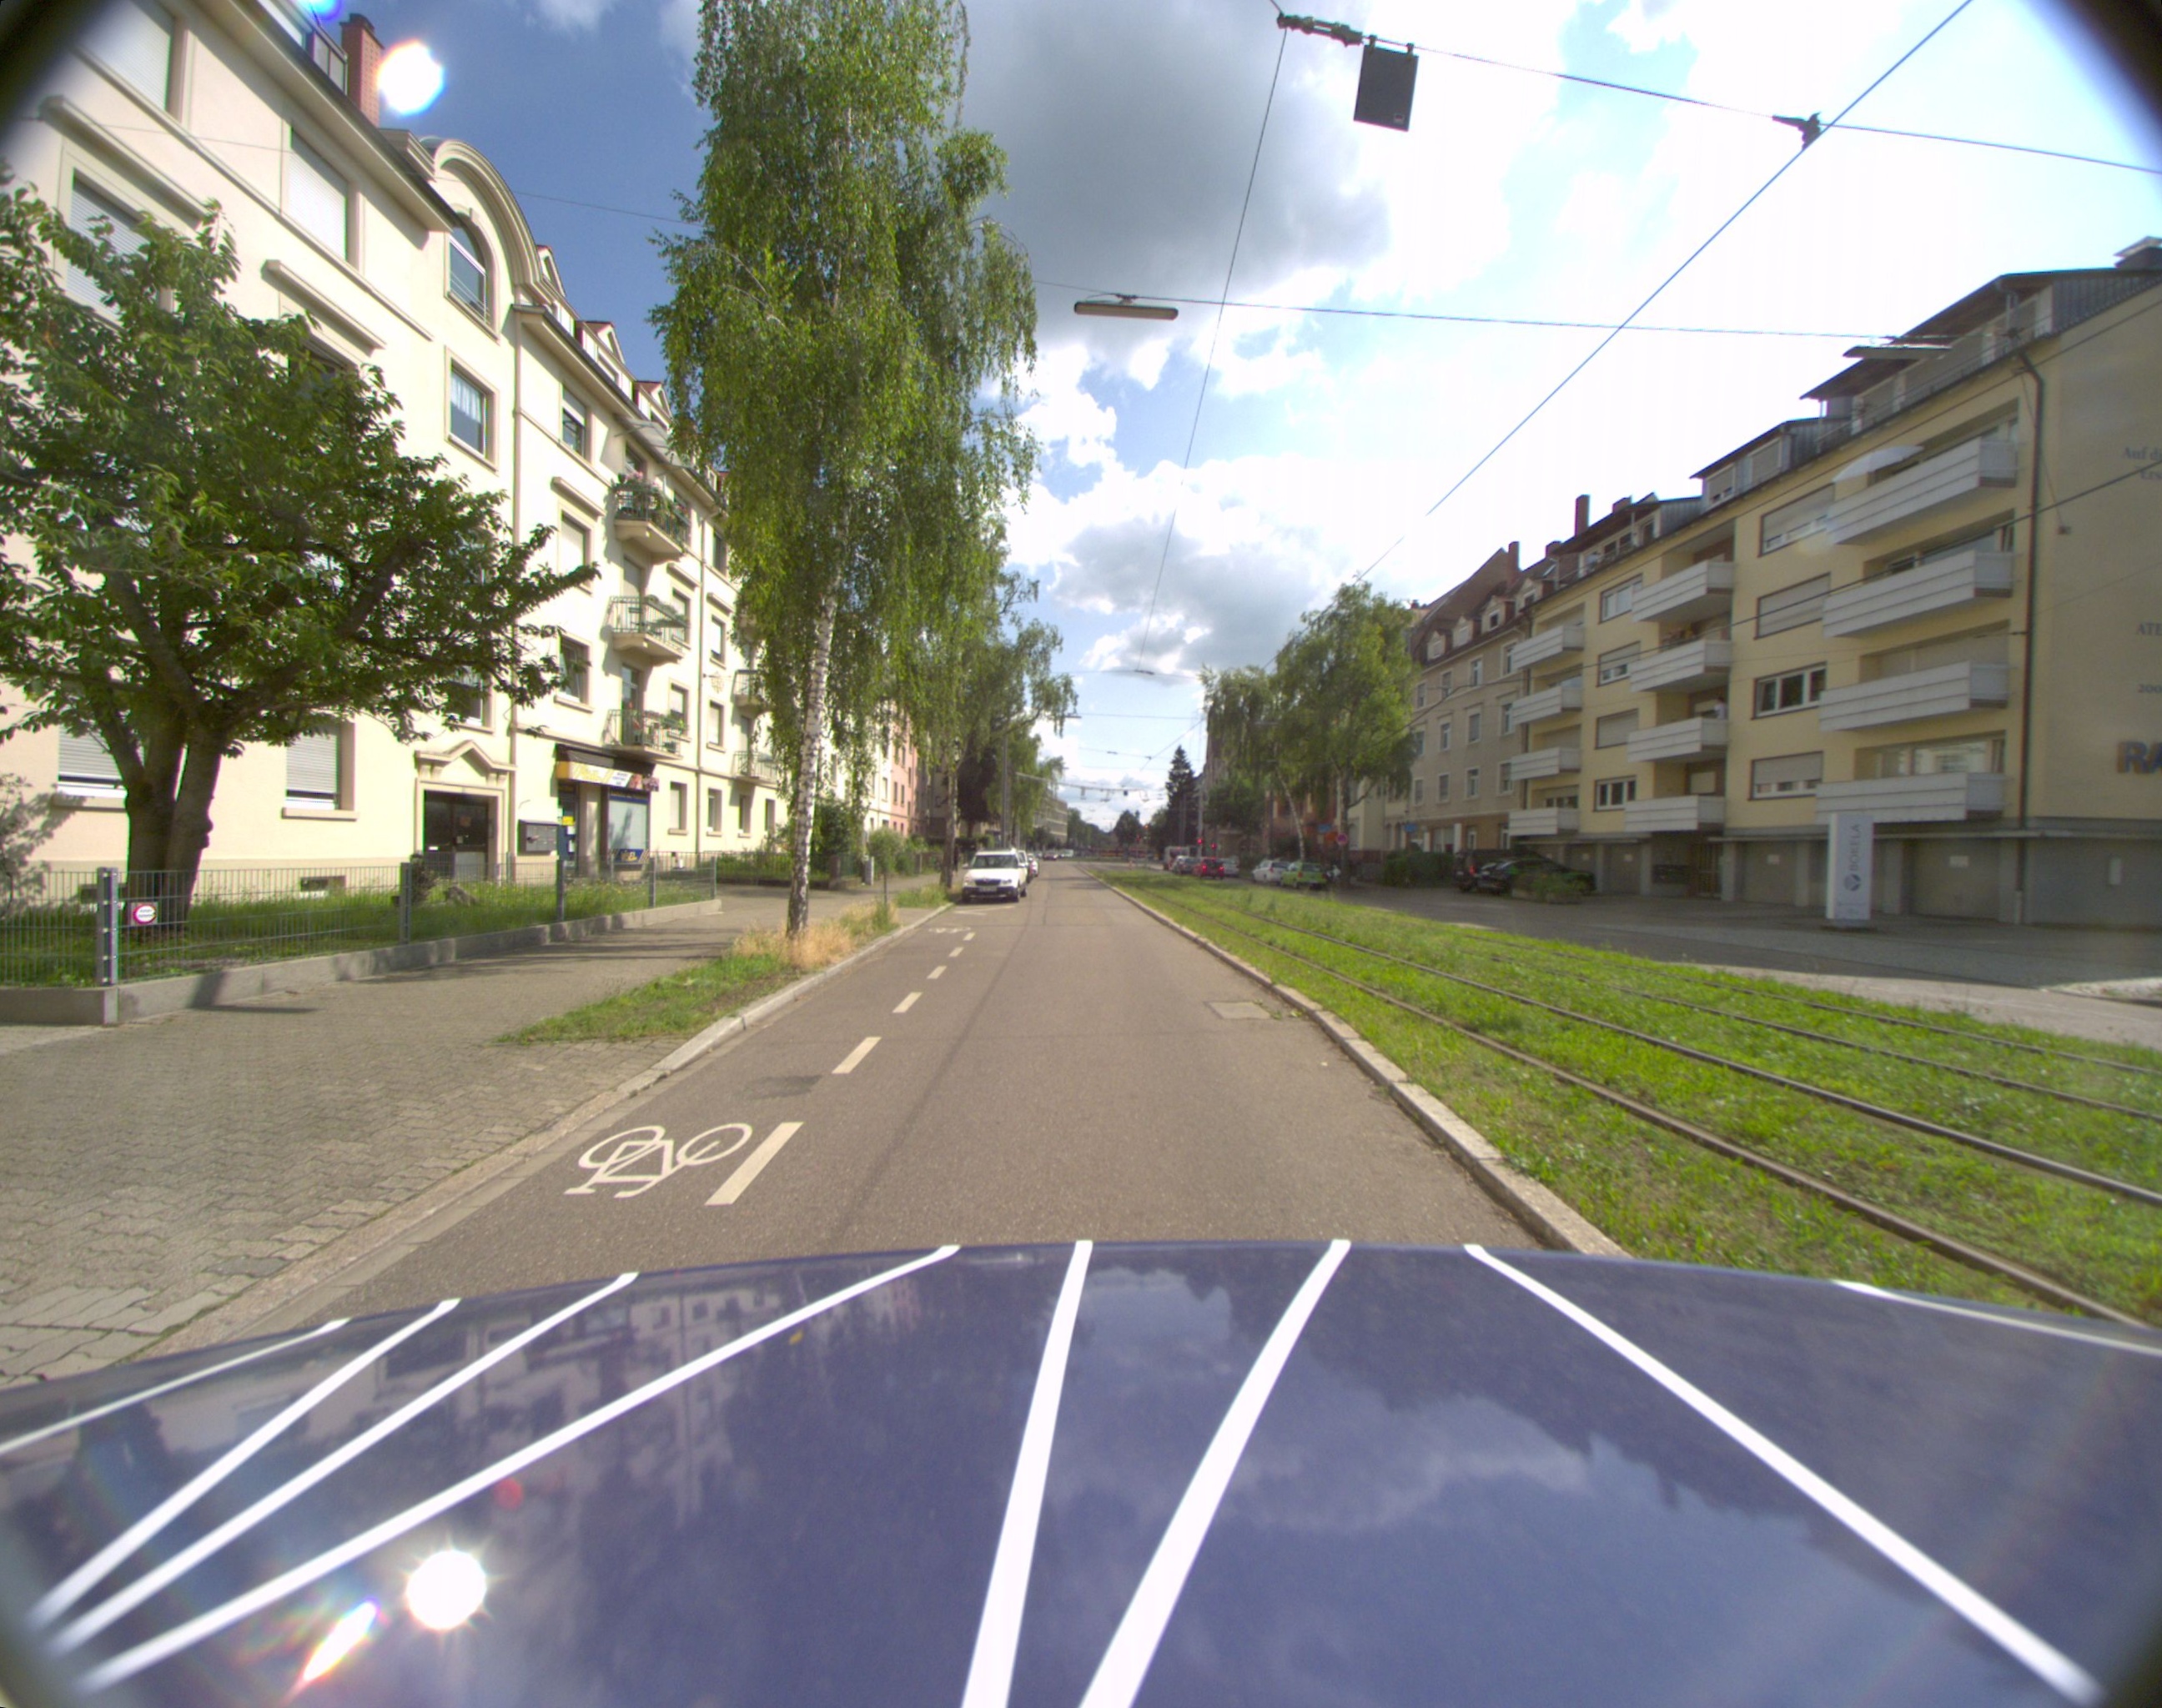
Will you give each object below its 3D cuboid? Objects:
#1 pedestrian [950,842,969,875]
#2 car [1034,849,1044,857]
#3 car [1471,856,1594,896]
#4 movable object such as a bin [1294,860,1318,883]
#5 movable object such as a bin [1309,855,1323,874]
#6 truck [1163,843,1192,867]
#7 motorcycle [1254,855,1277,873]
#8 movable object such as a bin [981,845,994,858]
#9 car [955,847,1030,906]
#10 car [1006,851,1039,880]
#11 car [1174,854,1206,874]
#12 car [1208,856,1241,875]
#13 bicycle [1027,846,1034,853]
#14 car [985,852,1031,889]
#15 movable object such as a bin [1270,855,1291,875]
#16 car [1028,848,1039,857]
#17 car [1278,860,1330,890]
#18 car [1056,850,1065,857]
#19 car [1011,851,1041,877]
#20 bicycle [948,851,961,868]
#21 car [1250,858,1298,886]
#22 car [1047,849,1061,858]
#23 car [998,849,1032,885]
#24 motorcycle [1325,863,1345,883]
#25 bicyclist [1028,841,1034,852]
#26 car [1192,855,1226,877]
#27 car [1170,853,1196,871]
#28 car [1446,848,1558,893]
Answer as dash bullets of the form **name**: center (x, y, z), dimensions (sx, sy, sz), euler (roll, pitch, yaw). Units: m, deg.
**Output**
- **pedestrian**: center (-6.326, 0.214, 39.591), dimensions (0.731, 1.673, 0.691), euler (3, 1, 1)
- **car**: center (-8.234, -0.208, 150.216), dimensions (1.836, 1.674, 3.999), euler (2, 0, -2)
- **car**: center (18.932, 0.914, 31.971), dimensions (3.998, 1.593, 1.972), euler (0, 1, -2)
- **movable object such as a bin**: center (13.885, 1.068, 46.879), dimensions (0.953, 1.421, 1.521), euler (-1, 1, -2)
- **movable object such as a bin**: center (17.101, 0.767, 55.310), dimensions (0.675, 1.354, 0.699), euler (1, 1, -5)
- **truck**: center (9.436, 0.113, 74.878), dimensions (2.190, 2.201, 6.613), euler (2, 0, 3)
- **motorcycle**: center (13.632, 0.719, 56.188), dimensions (0.903, 1.235, 2.293), euler (1, 0, -8)
- **movable object such as a bin**: center (-10.909, -0.267, 88.437), dimensions (1.305, 1.483, 2.000), euler (2, 1, -1)
- **car**: center (-2.621, 0.620, 23.282), dimensions (1.725, 1.620, 4.000), euler (-1, 1, 1)
- **car**: center (-3.177, 0.619, 41.792), dimensions (1.593, 1.444, 3.843), euler (-2, 1, -2)
- **car**: center (8.390, 0.737, 58.804), dimensions (1.759, 1.348, 4.511), euler (3, 1, 0)
- **car**: center (11.112, 0.886, 58.998), dimensions (1.759, 1.348, 3.994), euler (2, 1, 0)
- **bicycle**: center (-7.553, -0.668, 114.052), dimensions (0.771, 0.885, 1.892), euler (2, 0, 4)
- **car**: center (-3.031, 0.645, 32.181), dimensions (1.677, 1.409, 3.794), euler (-1, 1, -3)
- **movable object such as a bin**: center (14.019, 0.756, 53.361), dimensions (0.953, 1.359, 1.521), euler (-4, 1, -2)
- **car**: center (-8.787, -0.289, 141.862), dimensions (1.999, 1.730, 3.998), euler (2, 0, -3)
- **car**: center (11.842, 1.072, 40.537), dimensions (1.598, 1.424, 3.613), euler (2, 0, -1)
- **car**: center (-4.158, -0.095, 153.583), dimensions (1.620, 1.265, 4.000), euler (1, 0, 2)
- **car**: center (-3.325, 0.554, 46.525), dimensions (1.624, 1.444, 3.917), euler (-2, 1, -2)
- **bicycle**: center (-8.239, 0.354, 49.562), dimensions (0.472, 1.071, 2.182), euler (2, 0, 0)
- **car**: center (11.552, 1.021, 45.660), dimensions (1.649, 1.469, 4.224), euler (3, 0, -1)
- **car**: center (-4.020, -0.034, 113.604), dimensions (1.741, 1.313, 4.000), euler (0, 1, 2)
- **car**: center (-3.123, 0.582, 36.417), dimensions (1.497, 1.570, 3.757), euler (-1, 1, -3)
- **motorcycle**: center (14.142, 1.040, 42.394), dimensions (0.500, 1.037, 1.631), euler (-2, 2, -2)
- **bicyclist**: center (-7.528, -1.130, 114.042), dimensions (0.665, 1.679, 0.857), euler (2, 1, 4)
- **car**: center (8.704, 0.789, 51.775), dimensions (1.583, 1.379, 3.692), euler (2, 0, -1)
- **car**: center (8.717, 0.660, 65.372), dimensions (1.759, 1.406, 4.134), euler (3, 1, 2)
- **car**: center (19.118, 0.723, 34.644), dimensions (3.996, 2.002, 1.937), euler (0, 1, 2)
